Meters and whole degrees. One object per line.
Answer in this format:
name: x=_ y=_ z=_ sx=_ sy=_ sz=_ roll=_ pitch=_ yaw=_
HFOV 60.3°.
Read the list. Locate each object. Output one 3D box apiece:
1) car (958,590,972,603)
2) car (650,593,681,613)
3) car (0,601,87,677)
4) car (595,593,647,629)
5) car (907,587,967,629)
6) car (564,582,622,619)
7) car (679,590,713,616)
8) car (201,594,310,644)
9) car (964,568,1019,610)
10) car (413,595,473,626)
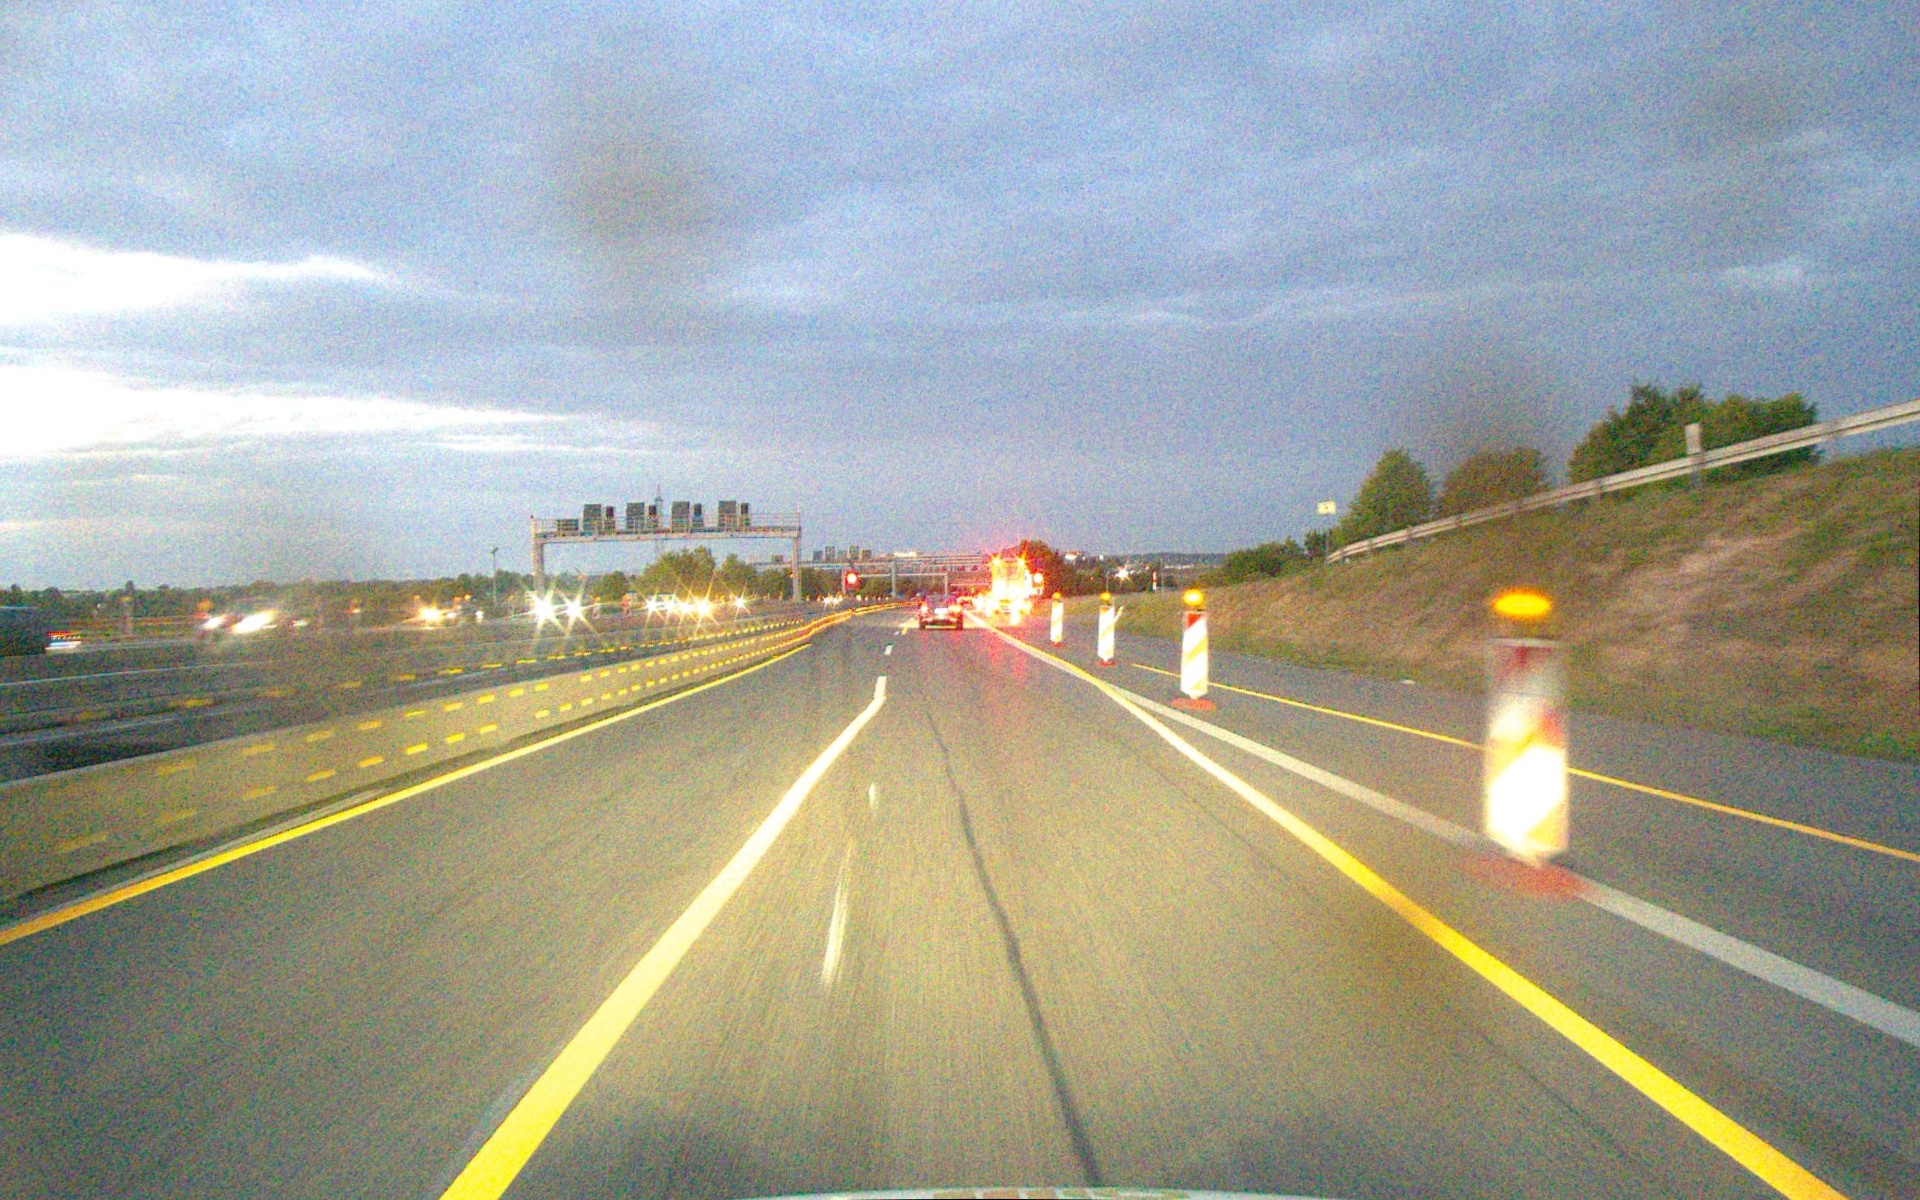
car: x=0.750 y=-0.529 z=248.944 sx=1.953 sy=2.049 sz=3.999 roll=1 pitch=0 yaw=-1
car: x=-22.004 y=0.233 z=123.744 sx=1.543 sy=1.455 sz=4.424 roll=1 pitch=0 yaw=-1
car: x=-20.084 y=0.778 z=34.098 sx=1.727 sy=1.489 sz=4.689 roll=1 pitch=0 yaw=-1
car: x=-18.020 y=0.568 z=88.110 sx=1.953 sy=1.860 sz=3.999 roll=1 pitch=0 yaw=-1
car: x=-1.003 y=0.321 z=69.364 sx=2.221 sy=1.649 sz=3.996 roll=1 pitch=0 yaw=-5
car: x=-17.960 y=0.024 z=81.036 sx=1.953 sy=1.744 sz=3.999 roll=1 pitch=0 yaw=-1
car: x=-19.202 y=0.241 z=120.460 sx=1.953 sy=1.728 sz=3.998 roll=-1 pitch=-2 yaw=-2
car: x=-23.243 y=0.592 z=54.714 sx=1.727 sy=1.575 sz=4.424 roll=1 pitch=0 yaw=-1
car: x=2.622 y=-0.932 z=140.541 sx=3.537 sy=3.455 sz=8.001 roll=1 pitch=0 yaw=-7
car: x=-26.633 y=0.520 z=85.291 sx=1.727 sy=1.575 sz=4.424 roll=1 pitch=0 yaw=-1
